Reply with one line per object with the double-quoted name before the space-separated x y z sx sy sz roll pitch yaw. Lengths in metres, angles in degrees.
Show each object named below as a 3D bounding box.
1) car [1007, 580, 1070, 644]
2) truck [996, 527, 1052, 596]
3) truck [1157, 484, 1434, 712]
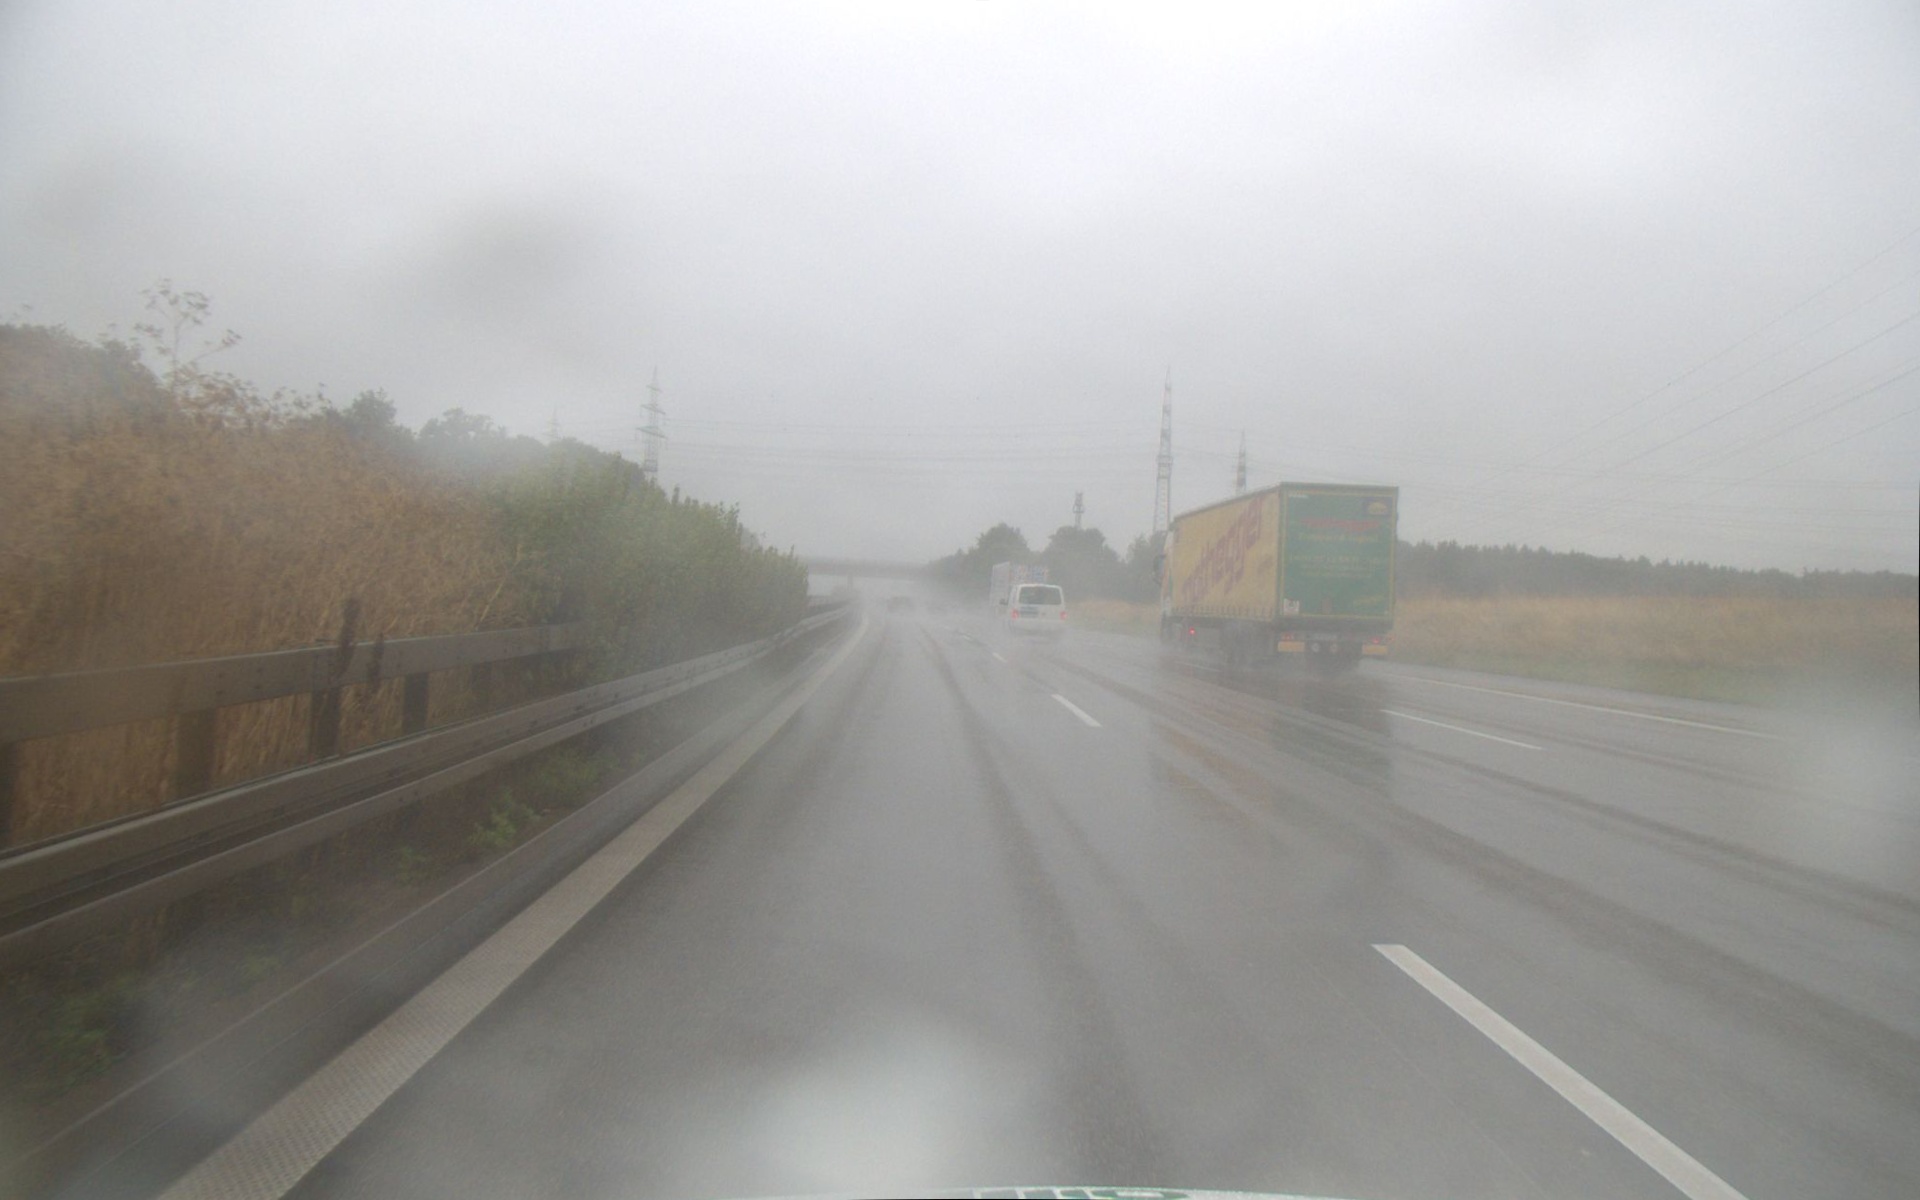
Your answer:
"car" 2.706 0.372 56.298 1.951 2.049 4.003 1 1 5
"truck" 4.218 -2.541 110.888 3.167 4.386 8.835 1 1 -1
"truck" 8.003 -0.084 42.796 4.103 4.711 16.107 1 0 1
